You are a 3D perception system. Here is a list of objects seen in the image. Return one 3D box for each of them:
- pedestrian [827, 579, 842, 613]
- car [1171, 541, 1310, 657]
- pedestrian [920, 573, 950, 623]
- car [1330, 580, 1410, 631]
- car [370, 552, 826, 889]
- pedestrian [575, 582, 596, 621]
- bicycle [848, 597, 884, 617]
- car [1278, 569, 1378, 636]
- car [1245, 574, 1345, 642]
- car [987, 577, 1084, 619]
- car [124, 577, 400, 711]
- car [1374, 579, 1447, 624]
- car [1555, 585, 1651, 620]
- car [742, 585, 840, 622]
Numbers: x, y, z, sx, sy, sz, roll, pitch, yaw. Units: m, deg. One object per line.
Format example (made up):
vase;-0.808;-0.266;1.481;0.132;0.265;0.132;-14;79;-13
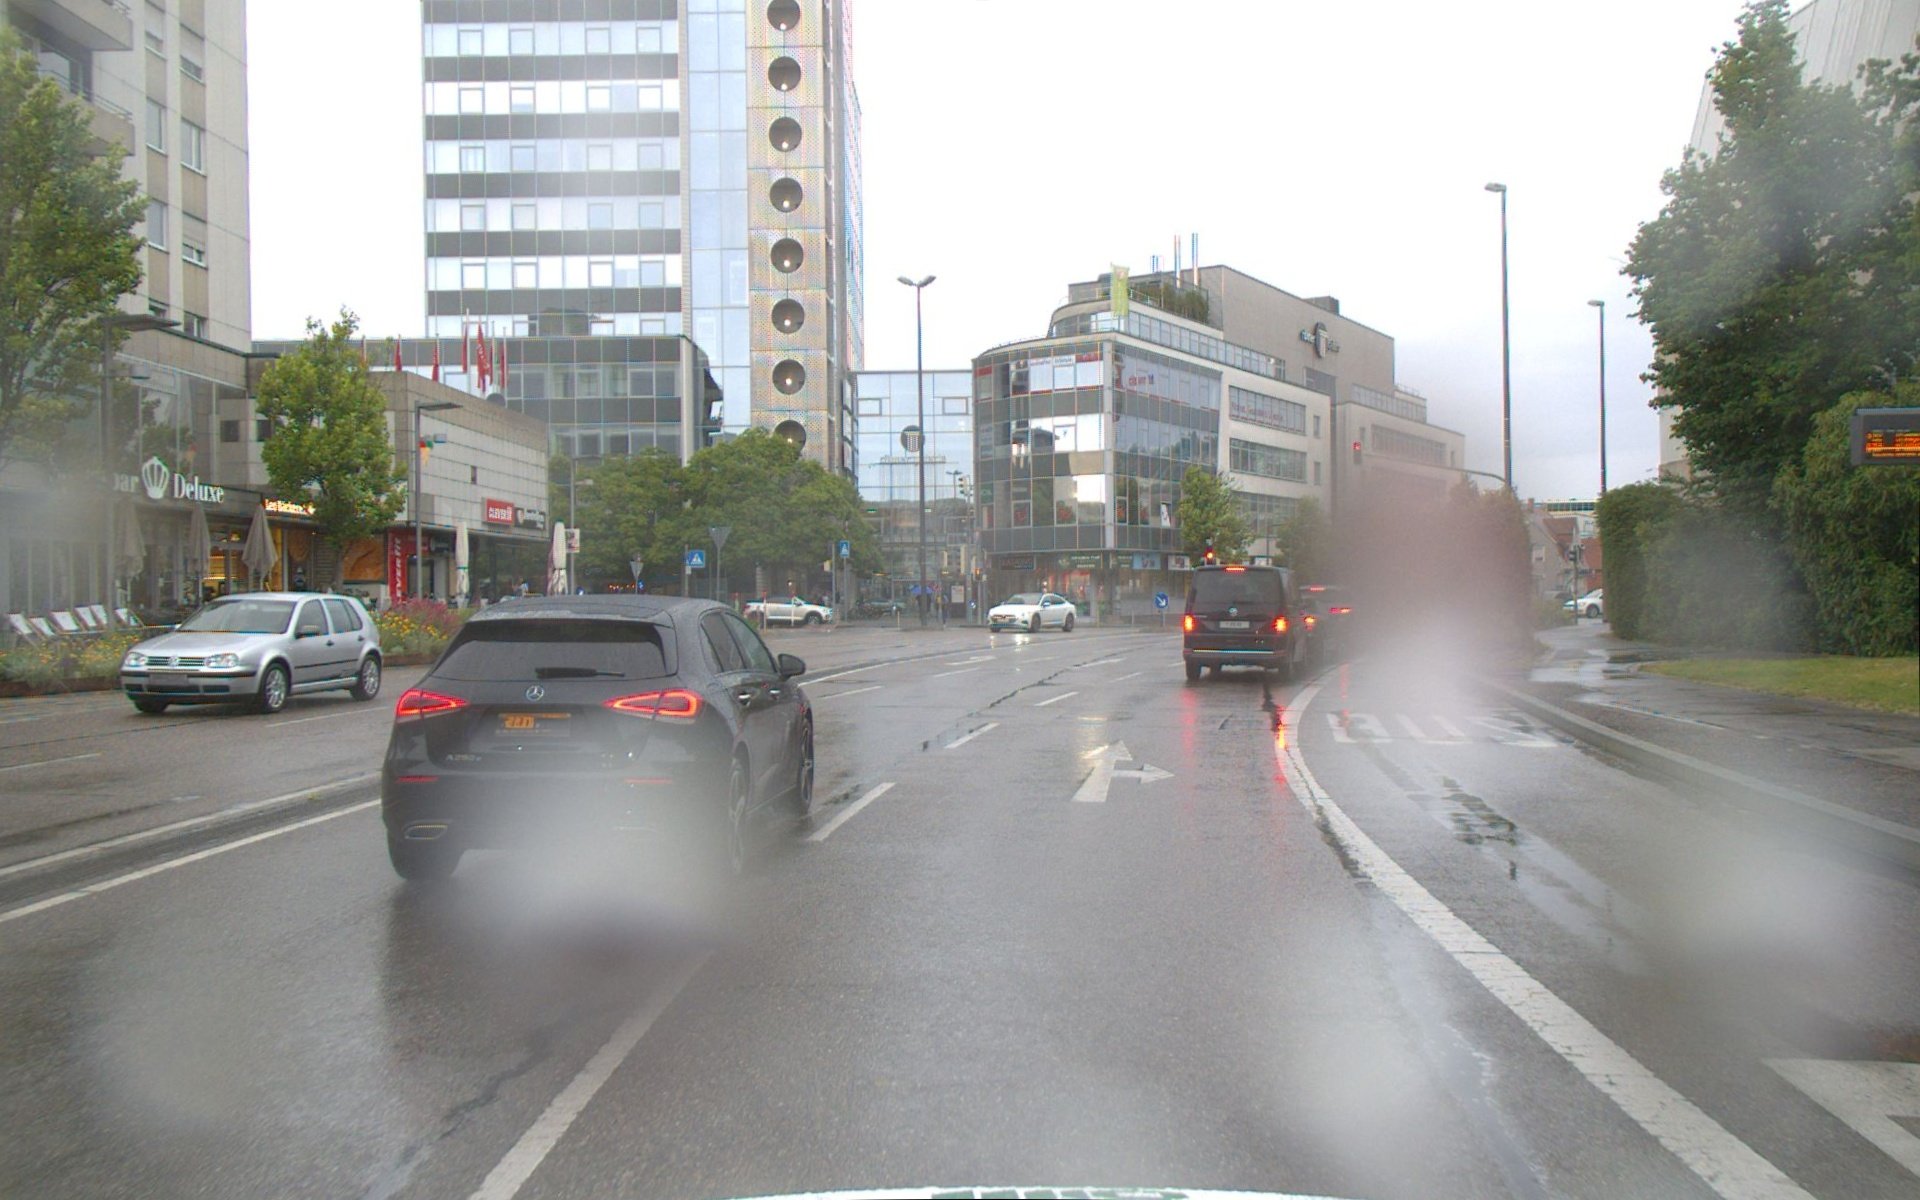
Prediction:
pedestrian;-7.566;-0.229;99.658;0.746;2.049;0.715;0;0;10
car;5.145;-0.017;29.846;1.953;1.927;4.590;0;0;16
pedestrian;-1.039;-0.072;68.763;1.139;2.049;1.327;0;0;-6
car;12.272;0.148;49.387;1.601;1.473;4.266;0;0;24
car;-1.851;0.535;9.656;1.778;1.556;3.813;1;1;0
pedestrian;-13.227;0.047;58.465;0.488;1.371;0.535;0;0;37
bicycle;-6.003;0.443;105.851;2.227;1.268;0.676;-1;-1;-1
car;9.619;0.033;43.035;1.862;1.649;4.335;0;0;22
car;7.467;0.141;36.595;1.597;1.410;4.516;0;0;19
car;2.861;-0.099;61.531;1.806;1.486;4.803;0;0;27
car;-8.732;0.497;21.097;1.664;1.492;4.104;-2;0;1
car;15.096;0.050;55.343;1.873;1.425;3.456;-1;1;24
car;32.242;0.125;82.961;4.427;1.712;1.880;0;0;-22
car;-7.614;0.136;74.678;4.103;1.623;1.871;0;0;7
